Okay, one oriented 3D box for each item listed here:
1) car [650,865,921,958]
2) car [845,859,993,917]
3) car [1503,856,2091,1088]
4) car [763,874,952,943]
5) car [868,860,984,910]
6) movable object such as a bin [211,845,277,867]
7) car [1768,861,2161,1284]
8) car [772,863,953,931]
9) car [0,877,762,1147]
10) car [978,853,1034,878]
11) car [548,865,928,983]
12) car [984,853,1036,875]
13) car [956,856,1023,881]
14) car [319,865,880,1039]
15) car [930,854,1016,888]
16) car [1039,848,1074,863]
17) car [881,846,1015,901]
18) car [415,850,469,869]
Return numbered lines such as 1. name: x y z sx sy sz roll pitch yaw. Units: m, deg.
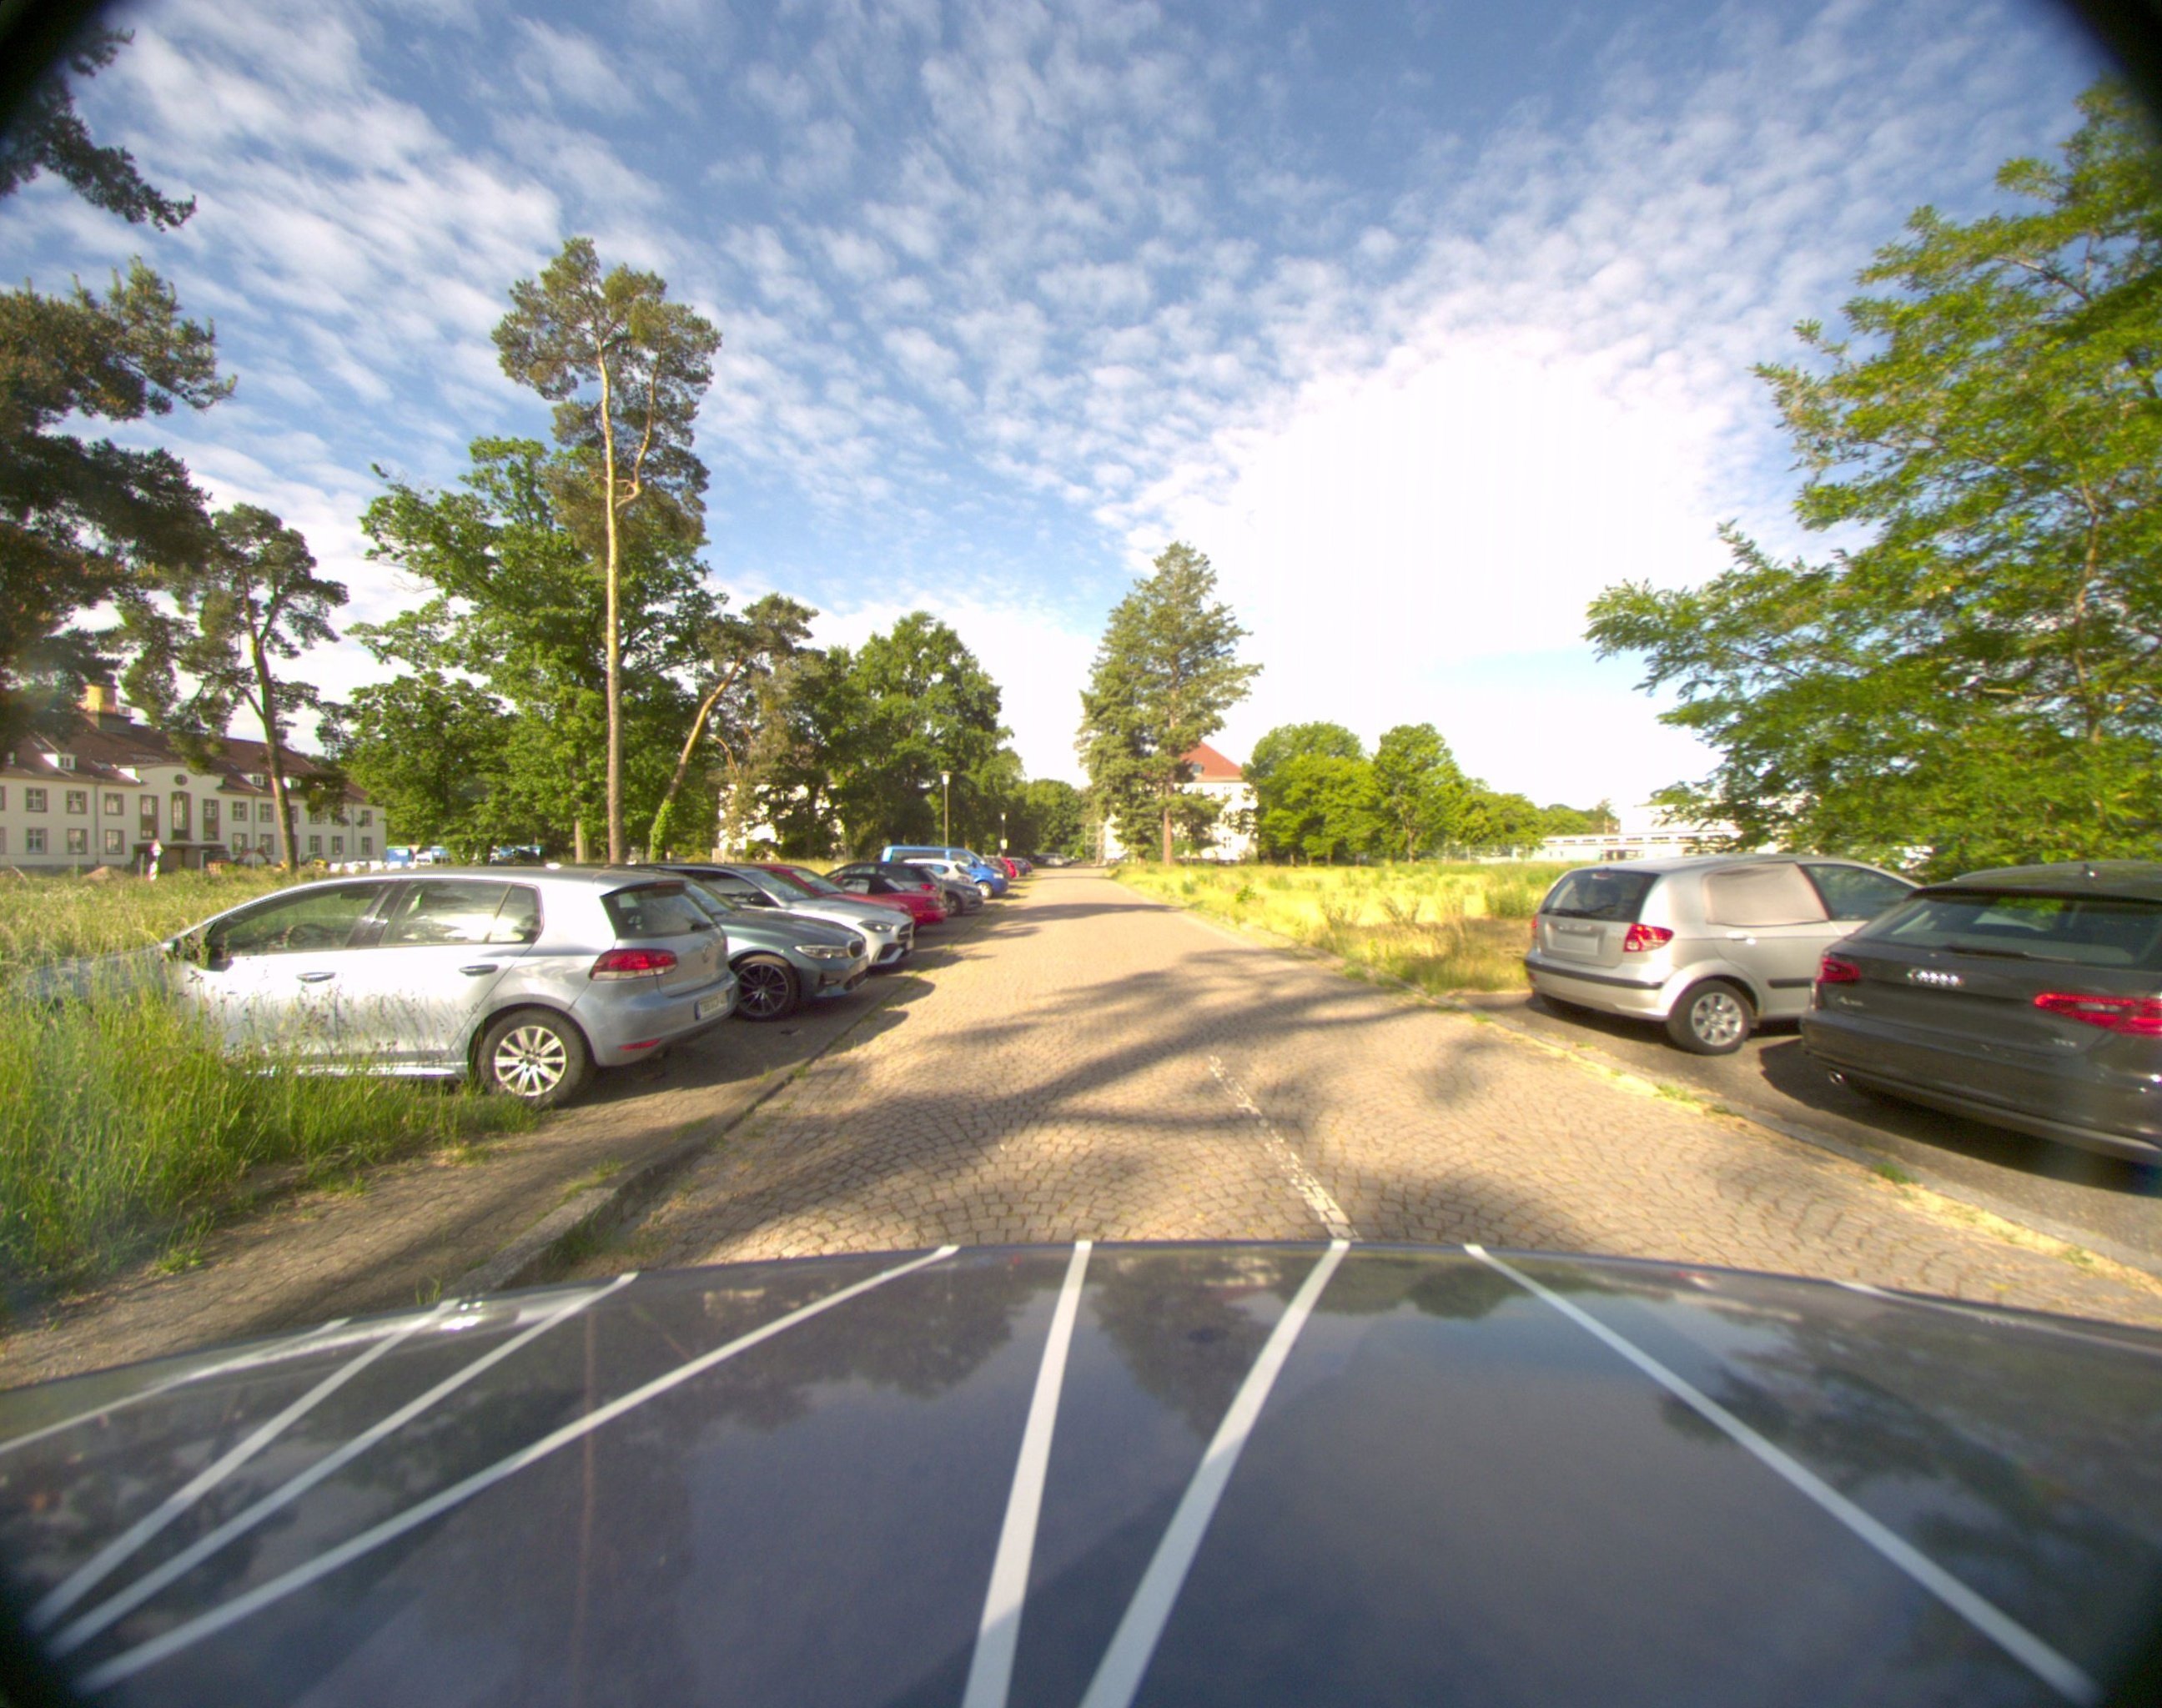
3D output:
1. car: -4.826 0.929 12.827 3.918 1.385 1.660 1 1 -2
2. car: -4.373 0.897 20.746 3.621 1.482 1.508 0 1 8
3. car: 5.743 0.845 6.371 3.475 1.462 1.636 -3 1 -4
4. car: -4.351 1.054 15.118 3.357 1.248 1.419 0 1 -2
5. car: -4.759 0.952 23.590 3.264 1.482 1.449 0 1 1
6. movable object such as a bin: -92.372 0.192 83.977 1.999 2.309 4.984 0 0 -5
7. car: 5.972 0.808 3.675 3.807 1.462 1.687 -3 1 -2
8. car: -4.991 0.969 17.728 3.780 1.482 1.549 0 1 -2
9. car: -4.611 0.929 5.248 4.026 1.452 1.870 0 1 -2
10. car: -5.739 0.862 58.443 3.996 1.731 1.757 -2 1 2
11. car: -4.522 0.908 10.559 4.423 1.394 1.825 1 0 -2
12. car: -5.865 0.822 63.276 3.996 1.605 1.756 -3 2 3
13. car: -5.792 0.907 48.253 3.996 1.509 1.757 0 1 2
14. car: -4.538 0.908 7.793 4.508 1.508 1.825 1 0 -5
15. car: -5.330 0.851 37.902 3.996 1.630 1.757 0 1 2
16. car: -3.584 0.239 111.948 5.069 2.251 2.000 0 1 -1
17. car: -4.984 0.698 28.971 4.727 2.002 2.000 0 1 0
18. car: -70.280 0.625 83.663 1.999 2.002 4.772 0 0 0
